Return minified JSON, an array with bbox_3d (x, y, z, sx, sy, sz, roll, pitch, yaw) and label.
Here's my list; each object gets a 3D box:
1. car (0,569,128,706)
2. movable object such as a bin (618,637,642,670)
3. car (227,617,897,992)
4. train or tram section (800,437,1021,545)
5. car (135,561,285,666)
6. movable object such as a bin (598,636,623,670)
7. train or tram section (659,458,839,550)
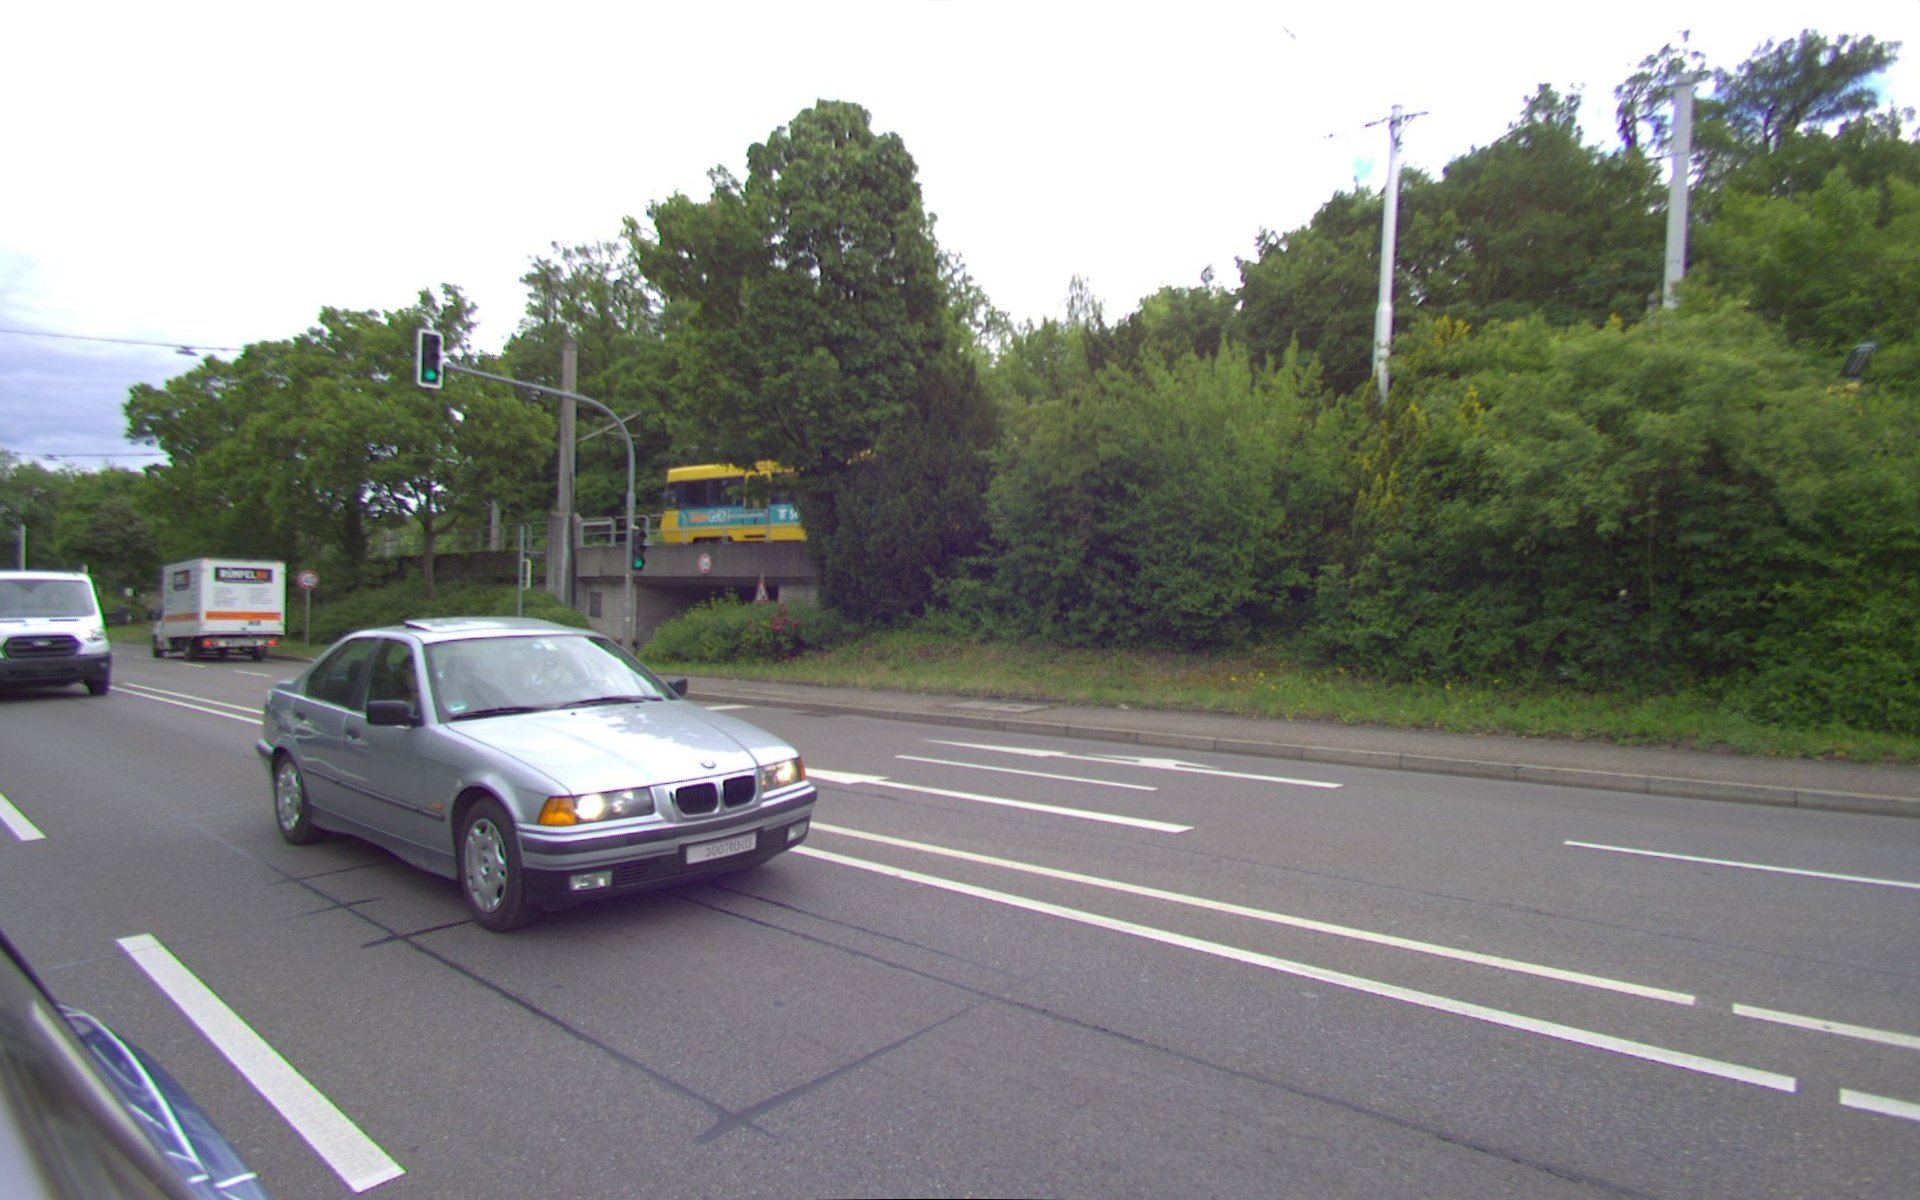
[{"bbox_3d":[-17.359,0.622,18.387,6.663,2.142,2.225,-1,0,39],"label":"car"},{"bbox_3d":[-11.107,1.785,34.035,0.563,1.085,0.537,-1,-3,39],"label":"movable object such as a bin"},{"bbox_3d":[-2.622,0.802,5.979,4.612,1.404,1.735,-1,-1,41],"label":"car"},{"bbox_3d":[-1.857,-3.539,34.535,8.138,3.066,2.038,1,1,37],"label":"train or tram section"},{"bbox_3d":[-24.582,0.430,33.021,7.229,3.079,2.247,-1,0,39],"label":"car"},{"bbox_3d":[-11.548,1.753,33.478,0.563,1.107,0.537,-1,-3,39],"label":"movable object such as a bin"},{"bbox_3d":[-8.375,-3.575,39.464,8.138,3.066,2.038,1,1,37],"label":"train or tram section"}]
